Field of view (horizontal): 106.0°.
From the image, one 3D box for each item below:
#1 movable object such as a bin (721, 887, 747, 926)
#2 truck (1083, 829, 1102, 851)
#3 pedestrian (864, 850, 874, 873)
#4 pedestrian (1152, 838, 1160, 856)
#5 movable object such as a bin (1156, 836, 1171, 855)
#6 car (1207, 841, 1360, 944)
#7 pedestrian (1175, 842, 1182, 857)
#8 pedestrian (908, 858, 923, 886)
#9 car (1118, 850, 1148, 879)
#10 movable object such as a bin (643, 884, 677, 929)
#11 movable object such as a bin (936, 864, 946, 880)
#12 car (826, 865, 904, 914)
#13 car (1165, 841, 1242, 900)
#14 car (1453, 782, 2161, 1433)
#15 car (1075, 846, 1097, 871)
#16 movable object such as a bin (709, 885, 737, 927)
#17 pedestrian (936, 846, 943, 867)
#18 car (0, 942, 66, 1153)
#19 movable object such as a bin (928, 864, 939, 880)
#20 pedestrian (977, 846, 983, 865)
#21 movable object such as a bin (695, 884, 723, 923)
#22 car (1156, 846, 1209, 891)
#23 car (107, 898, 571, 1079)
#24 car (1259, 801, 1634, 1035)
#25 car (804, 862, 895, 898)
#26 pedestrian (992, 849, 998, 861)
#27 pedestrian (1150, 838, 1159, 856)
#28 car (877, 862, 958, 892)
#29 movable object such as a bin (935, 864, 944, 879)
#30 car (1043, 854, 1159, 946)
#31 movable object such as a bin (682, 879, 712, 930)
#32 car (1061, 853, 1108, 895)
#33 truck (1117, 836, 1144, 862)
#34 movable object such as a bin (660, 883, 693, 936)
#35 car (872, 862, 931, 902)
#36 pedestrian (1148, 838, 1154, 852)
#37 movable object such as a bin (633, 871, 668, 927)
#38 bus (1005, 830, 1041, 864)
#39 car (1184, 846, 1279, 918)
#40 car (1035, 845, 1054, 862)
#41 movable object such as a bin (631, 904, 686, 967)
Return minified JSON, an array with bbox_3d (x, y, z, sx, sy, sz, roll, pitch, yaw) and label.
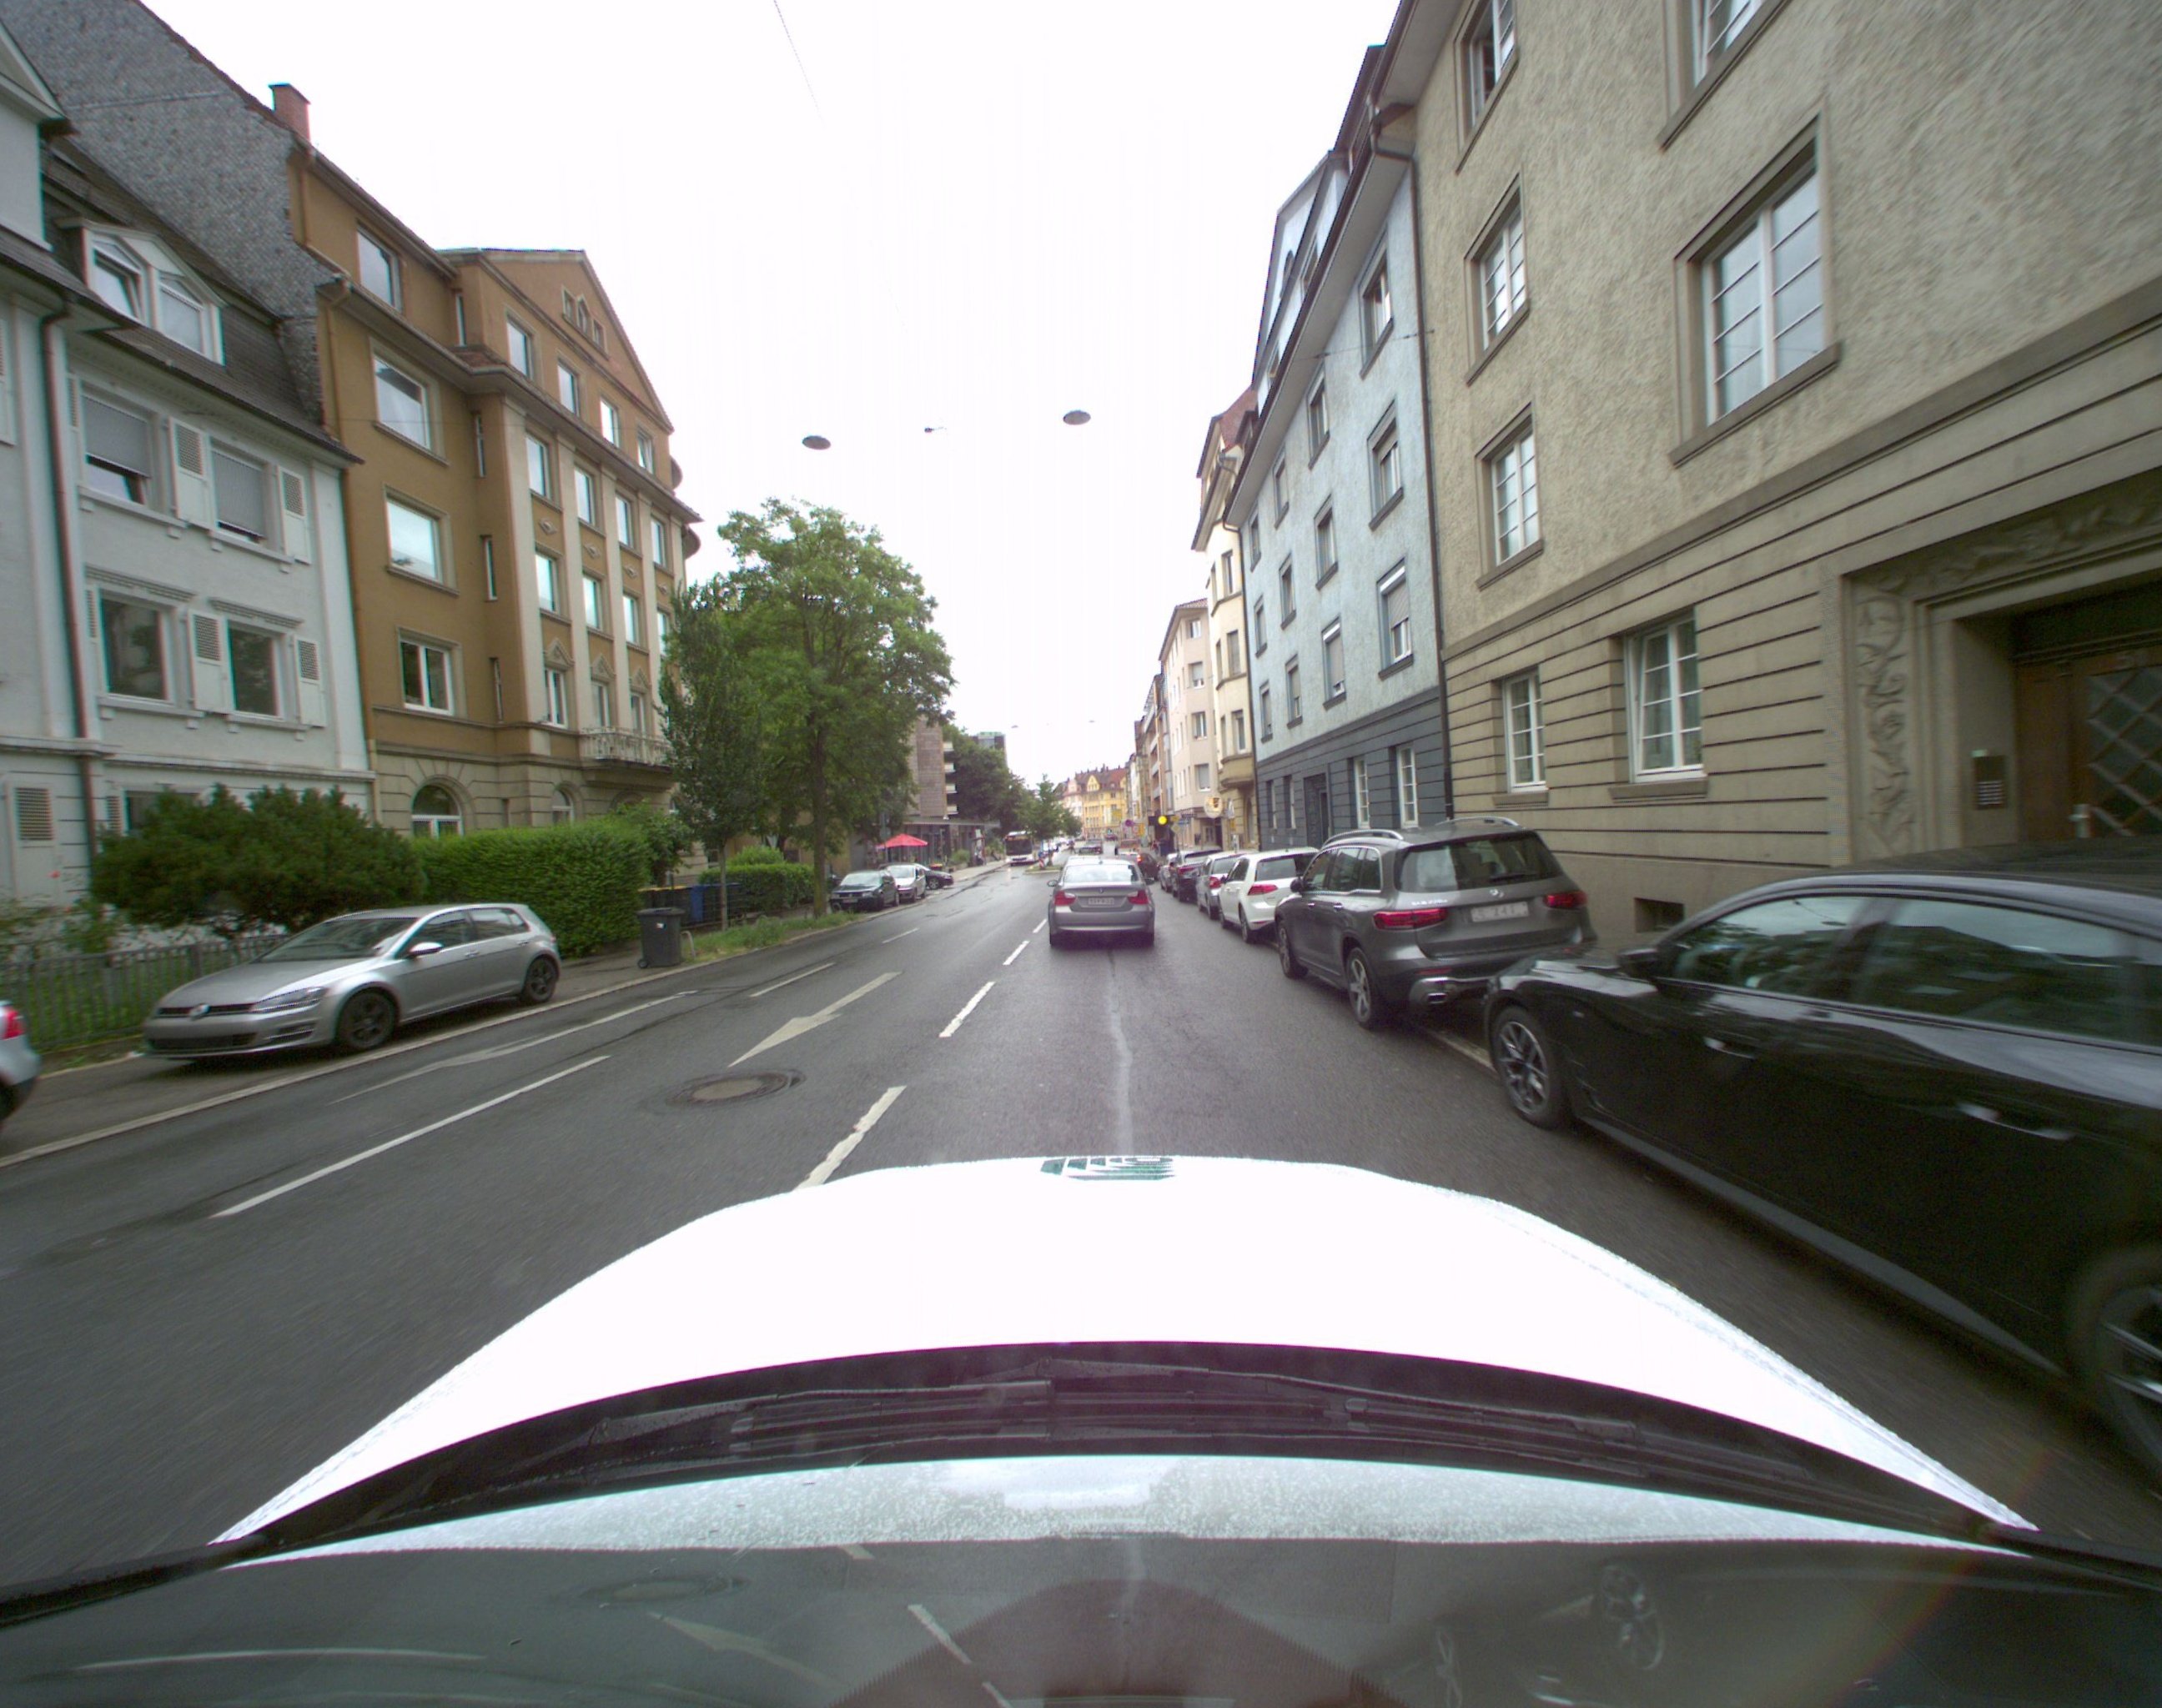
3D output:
[{"bbox_3d":[-10.299,1.546,24.167,0.438,1.081,0.590,-3,0,1],"label":"movable object such as a bin"},{"bbox_3d":[1.366,-1.678,97.837,2.209,2.544,4.780,0,-1,1],"label":"truck"},{"bbox_3d":[-16.867,0.615,64.828,0.635,1.816,0.634,-3,1,-16],"label":"pedestrian"},{"bbox_3d":[7.198,-0.682,78.453,0.745,1.661,0.838,-1,-1,7],"label":"pedestrian"},{"bbox_3d":[7.704,-0.785,76.126,1.119,1.702,1.433,-4,-1,-1],"label":"movable object such as a bin"},{"bbox_3d":[3.475,0.592,14.734,1.723,1.429,3.975,-6,0,1],"label":"car"},{"bbox_3d":[8.303,-0.387,69.426,0.411,1.202,0.357,-5,1,4],"label":"pedestrian"},{"bbox_3d":[-10.529,1.112,51.767,0.741,1.709,0.676,-5,1,-18],"label":"pedestrian"},{"bbox_3d":[2.571,0.534,40.591,1.430,1.356,3.765,-1,-1,3],"label":"car"},{"bbox_3d":[-10.492,1.304,20.328,0.438,1.039,0.650,-3,0,1],"label":"movable object such as a bin"},{"bbox_3d":[-10.016,1.289,58.162,0.488,1.081,0.606,-4,-1,2],"label":"movable object such as a bin"},{"bbox_3d":[-7.604,1.211,29.030,1.648,1.454,3.942,-3,0,0],"label":"car"},{"bbox_3d":[3.776,0.471,25.809,1.811,1.557,4.295,-5,0,2],"label":"car"},{"bbox_3d":[3.294,0.515,2.926,1.835,1.409,4.388,-5,0,0],"label":"car"},{"bbox_3d":[0.362,0.368,66.475,1.700,2.014,3.998,0,-1,-1],"label":"car"},{"bbox_3d":[-10.321,1.493,23.492,0.438,1.130,0.657,-3,0,1],"label":"movable object such as a bin"},{"bbox_3d":[-12.192,0.247,70.129,0.461,1.790,0.546,-1,-1,13],"label":"pedestrian"},{"bbox_3d":[-8.242,1.369,3.925,1.676,1.390,3.911,-2,0,2],"label":"car"},{"bbox_3d":[-10.334,1.284,57.047,0.551,1.081,0.731,-4,-1,2],"label":"movable object such as a bin"},{"bbox_3d":[-9.516,0.136,76.876,0.542,1.709,0.465,0,-1,-5],"label":"pedestrian"},{"bbox_3d":[-10.366,1.374,22.699,0.425,1.040,0.650,-3,0,1],"label":"movable object such as a bin"},{"bbox_3d":[3.830,0.515,31.333,1.563,1.464,4.091,-5,0,2],"label":"car"},{"bbox_3d":[-8.159,1.362,9.558,1.676,1.390,3.938,-3,0,2],"label":"car"},{"bbox_3d":[3.215,0.488,8.243,1.835,1.621,4.208,-5,0,0],"label":"car"},{"bbox_3d":[-11.211,1.243,39.614,3.799,1.389,1.745,-3,1,3],"label":"car"},{"bbox_3d":[-9.785,0.100,92.534,0.617,1.378,0.545,-1,-1,2],"label":"pedestrian"},{"bbox_3d":[6.736,-0.658,74.578,0.747,1.661,0.755,0,-1,2],"label":"pedestrian"},{"bbox_3d":[-8.459,1.160,42.347,3.803,1.390,1.742,-2,-1,0],"label":"car"},{"bbox_3d":[-10.241,1.282,58.928,0.488,1.081,0.606,-4,-1,2],"label":"movable object such as a bin"},{"bbox_3d":[0.347,0.719,14.105,1.749,1.362,3.165,-2,-1,1],"label":"car"},{"bbox_3d":[-10.356,1.361,21.970,0.438,1.308,0.609,-3,0,1],"label":"movable object such as a bin"},{"bbox_3d":[0.093,0.708,29.340,1.597,1.420,3.286,0,-1,-1],"label":"car"},{"bbox_3d":[4.221,-0.380,69.185,2.205,2.117,4.658,1,0,4],"label":"truck"},{"bbox_3d":[-10.466,1.429,21.100,0.438,1.308,0.650,-3,0,1],"label":"movable object such as a bin"},{"bbox_3d":[-7.329,1.108,33.572,1.628,1.454,3.836,-3,0,-2],"label":"car"},{"bbox_3d":[8.321,-1.099,96.724,0.611,1.661,0.756,-1,-1,7],"label":"pedestrian"},{"bbox_3d":[-10.511,1.087,19.889,0.438,1.299,0.650,-3,0,1],"label":"movable object such as a bin"},{"bbox_3d":[-5.747,-0.626,82.733,2.672,3.200,11.955,0,-1,1],"label":"bus"},{"bbox_3d":[3.515,0.603,19.611,1.577,1.429,3.596,-6,0,1],"label":"car"},{"bbox_3d":[-4.571,-0.075,102.705,1.987,2.014,4.000,-3,-1,0],"label":"car"},{"bbox_3d":[-7.694,1.472,14.861,0.627,1.058,0.600,-4,-1,1],"label":"movable object such as a bin"}]
